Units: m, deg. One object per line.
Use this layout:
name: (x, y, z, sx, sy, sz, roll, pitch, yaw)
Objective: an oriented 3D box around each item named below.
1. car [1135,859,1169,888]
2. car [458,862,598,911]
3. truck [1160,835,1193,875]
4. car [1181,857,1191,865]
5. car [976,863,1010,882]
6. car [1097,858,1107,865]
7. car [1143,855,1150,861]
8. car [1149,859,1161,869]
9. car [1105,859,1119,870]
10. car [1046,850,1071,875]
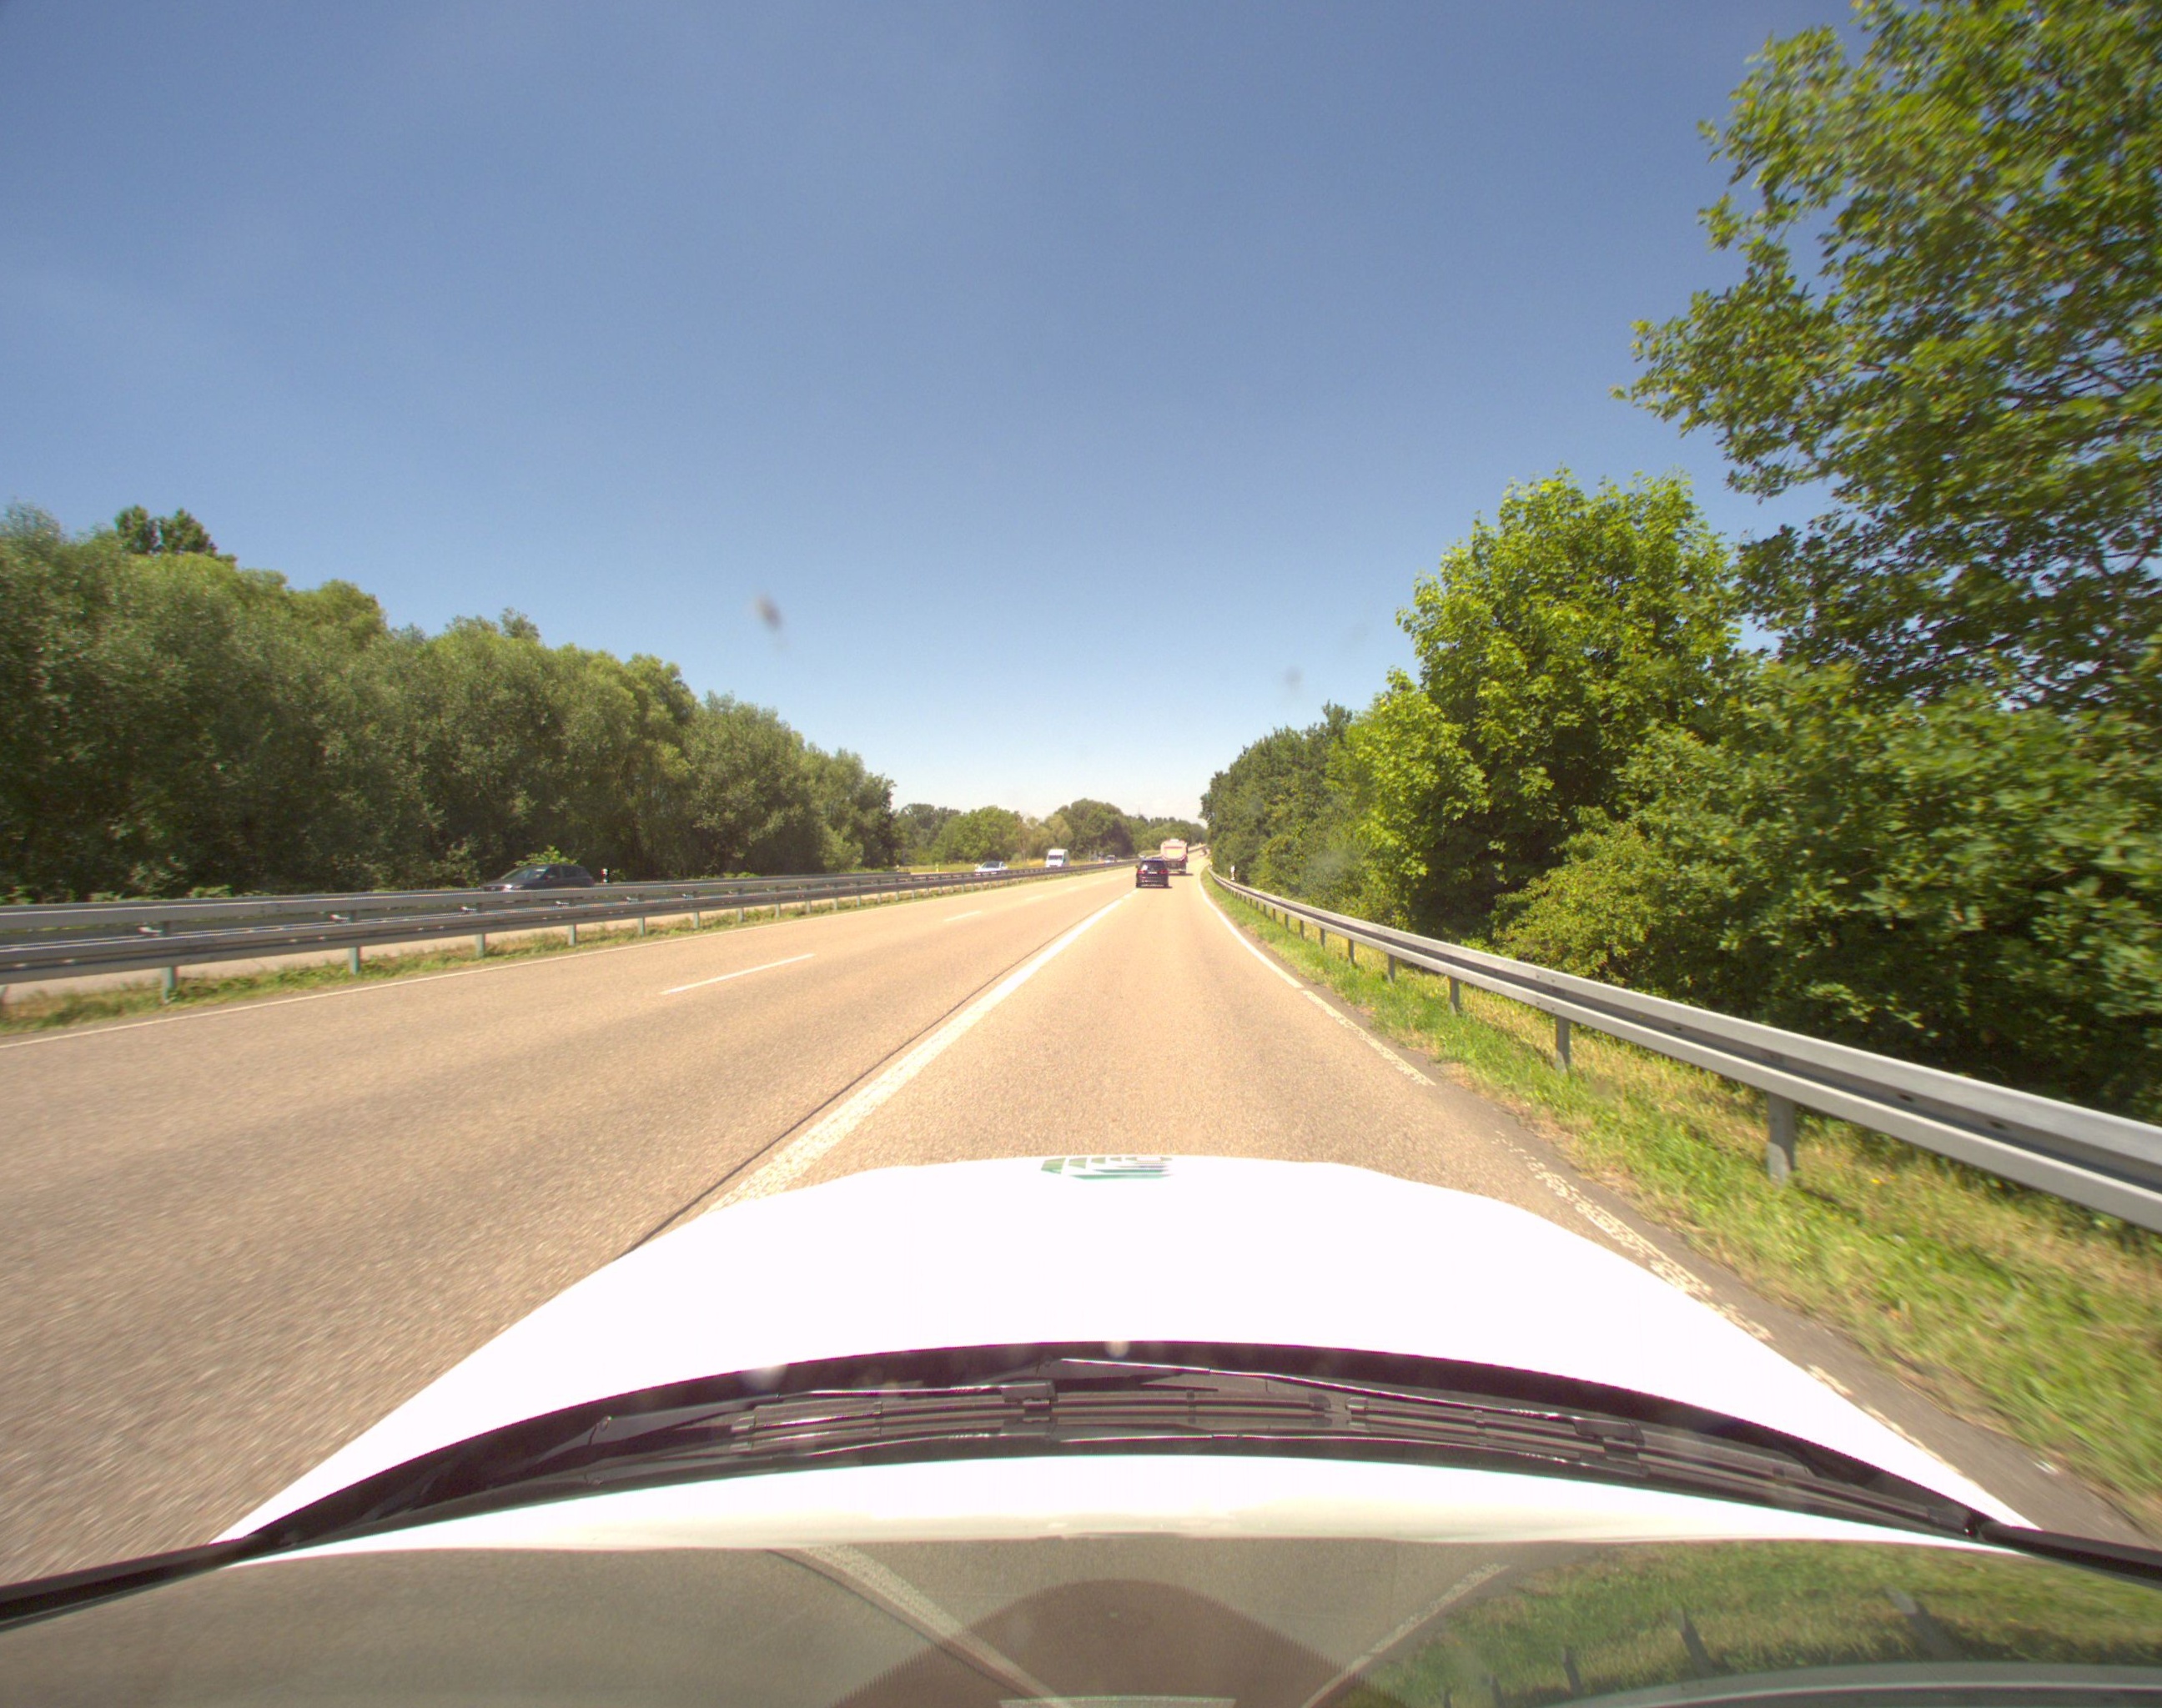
car: (4.313, 1.126, 49.003, 1.847, 1.671, 4.008, 0, -1, 7)
car: (-18.593, 1.042, 27.634, 1.680, 1.552, 4.081, 0, -1, 5)
truck: (10.292, -0.063, 86.322, 2.703, 3.929, 12.406, -1, 1, 10)
car: (22.326, 1.564, 173.329, 1.846, 1.671, 4.011, 0, -1, 10)
car: (-6.891, 1.420, 63.933, 1.909, 1.489, 4.005, 0, -1, 4)
car: (4.486, 1.580, 174.702, 1.909, 1.489, 4.005, 0, -1, 4)
car: (20.159, 1.205, 252.192, 1.714, 1.645, 4.956, 0, 0, 10)
car: (13.661, 1.829, 149.503, 1.846, 1.671, 4.011, 0, -1, 10)
car: (5.289, 1.718, 138.810, 1.853, 1.830, 4.669, 0, -1, 7)
car: (-2.576, 0.979, 93.805, 2.092, 2.683, 6.637, 0, -1, 5)
